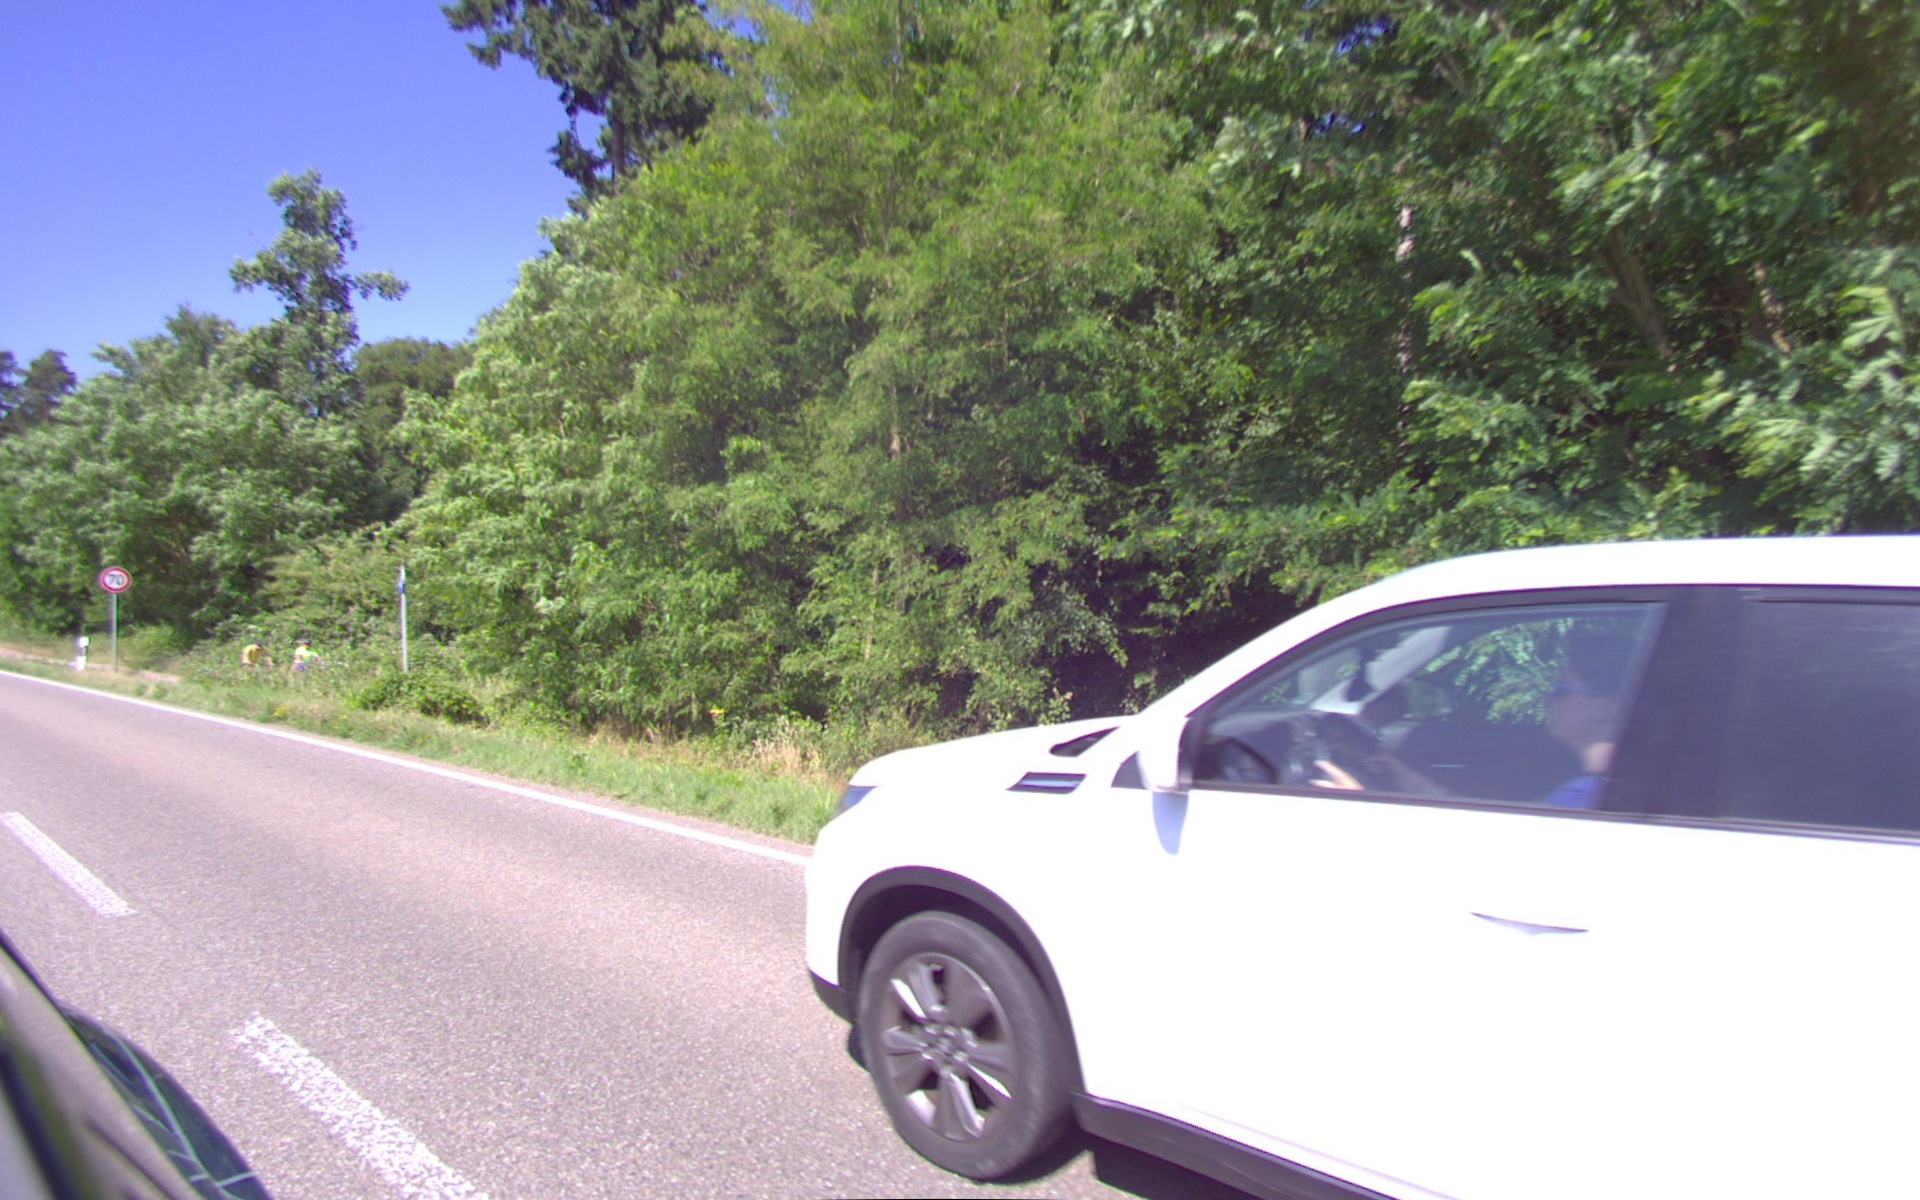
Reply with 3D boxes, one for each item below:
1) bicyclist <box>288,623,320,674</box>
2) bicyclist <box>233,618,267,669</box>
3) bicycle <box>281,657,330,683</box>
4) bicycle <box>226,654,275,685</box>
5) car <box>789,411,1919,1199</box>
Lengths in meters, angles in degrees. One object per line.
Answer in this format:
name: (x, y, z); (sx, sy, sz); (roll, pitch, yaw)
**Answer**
bicyclist: (-19.357, 1.425, 29.864); (0.702, 1.426, 0.599); (2, 3, 40)
bicyclist: (-20.058, 1.222, 28.583); (0.702, 1.426, 0.599); (0, -2, 40)
bicycle: (-19.323, 2.059, 29.853); (2.135, 0.686, 0.613); (-1, -2, 41)
bicycle: (-20.032, 1.954, 28.553); (2.135, 0.794, 0.633); (-1, -2, 41)
car: (1.645, 0.608, 2.164); (3.996, 1.689, 1.791); (-2, -2, 39)
